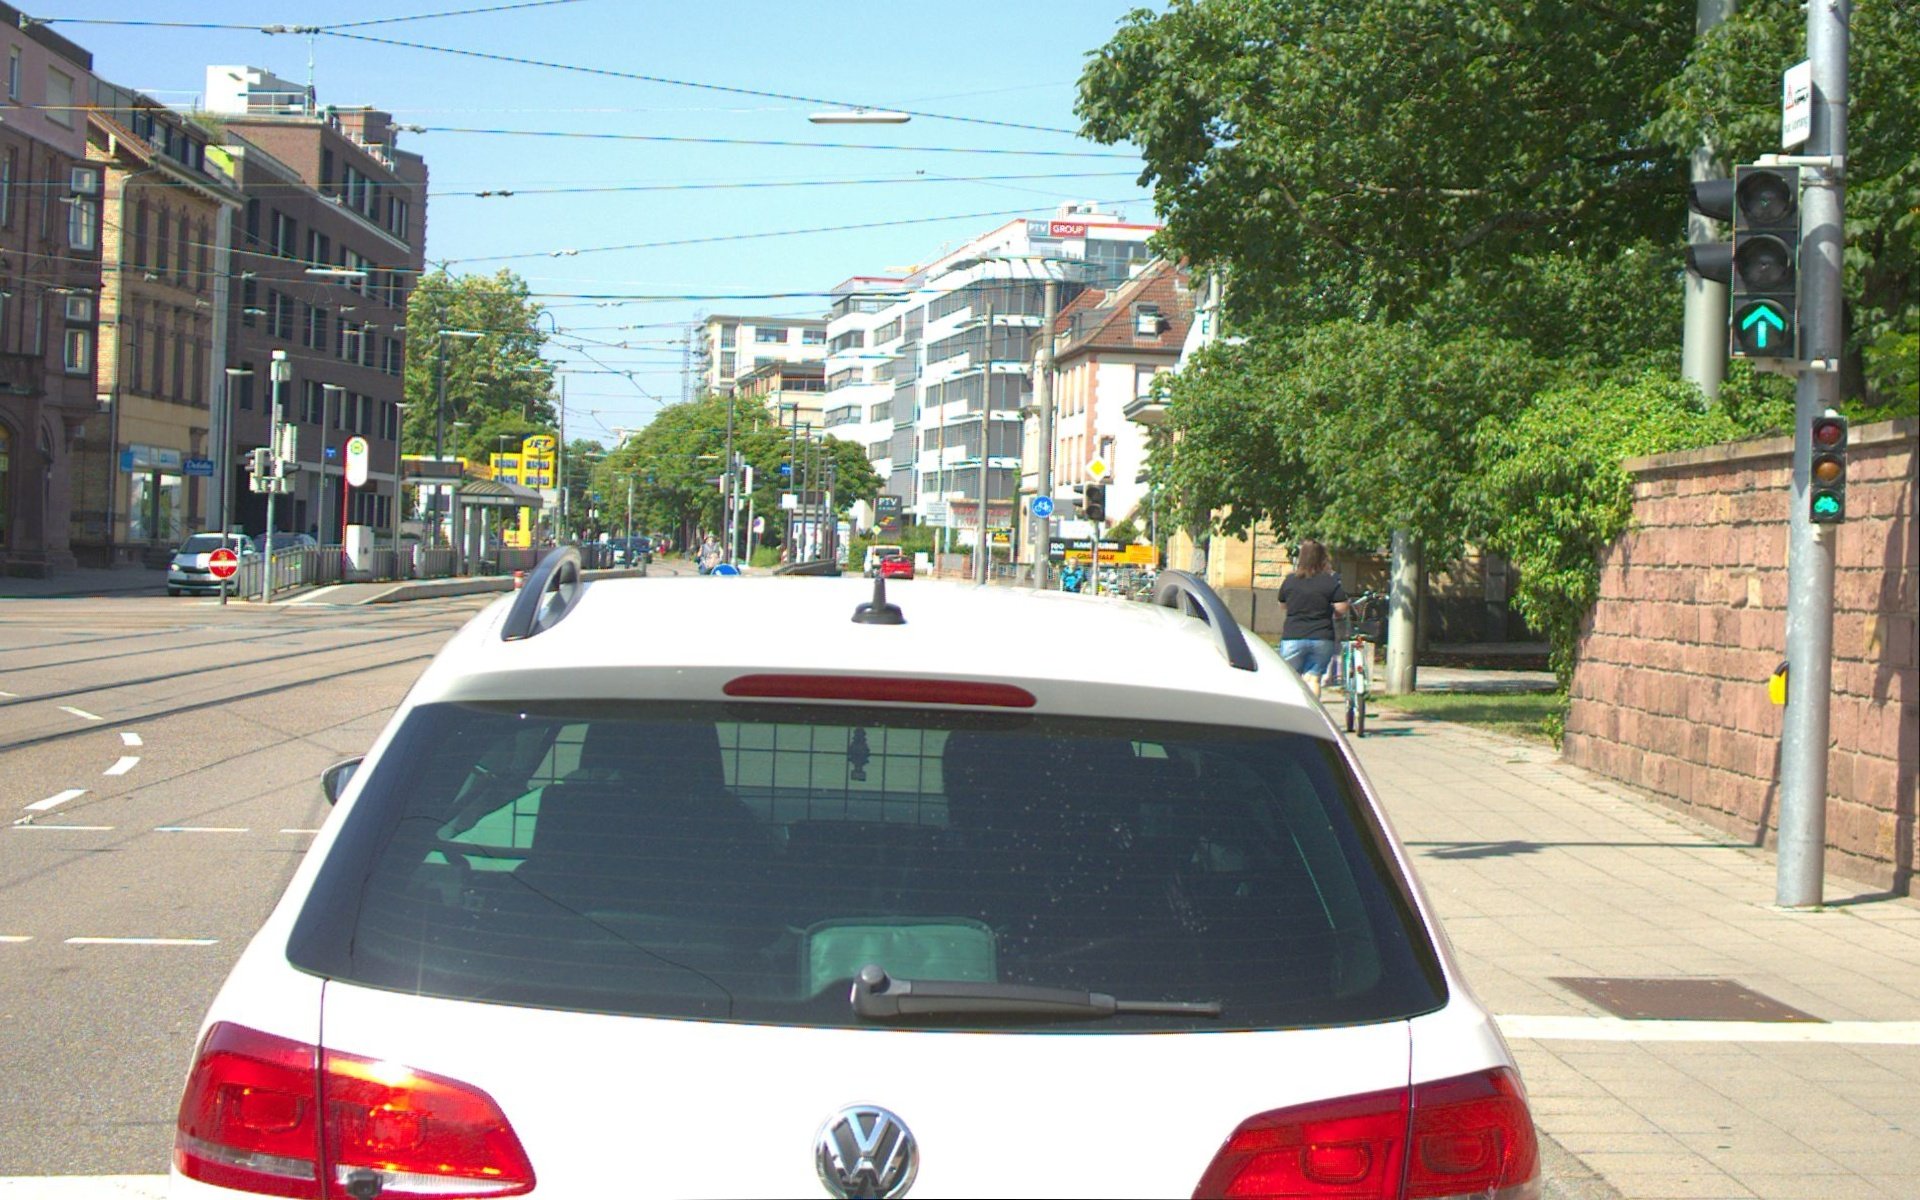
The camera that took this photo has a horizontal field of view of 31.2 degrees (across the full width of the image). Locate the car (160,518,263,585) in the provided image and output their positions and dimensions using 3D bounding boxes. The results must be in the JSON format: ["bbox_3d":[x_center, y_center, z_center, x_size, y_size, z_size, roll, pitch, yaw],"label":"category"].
[{"bbox_3d":[-17.462,-1.135,80.364,1.625,1.426,3.963,3,1,-2],"label":"car"}]

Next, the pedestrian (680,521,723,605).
[{"bbox_3d":[-5.616,-0.804,74.716,0.826,1.803,0.833,2,1,0],"label":"pedestrian"}]

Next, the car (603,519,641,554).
[{"bbox_3d":[-20.407,-3.824,207.682,1.993,2.007,4.000,1,1,-2],"label":"car"}]

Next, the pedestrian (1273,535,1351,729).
[{"bbox_3d":[2.832,0.250,27.703,0.540,1.543,0.663,0,1,-1],"label":"pedestrian"}]

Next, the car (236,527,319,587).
[{"bbox_3d":[-17.471,-1.104,88.119,1.572,1.454,3.815,2,1,-4],"label":"car"}]

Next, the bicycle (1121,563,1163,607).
[{"bbox_3d":[4.778,-0.400,90.211,0.726,1.135,2.193,2,1,12],"label":"bicycle"}]

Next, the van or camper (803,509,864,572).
[{"bbox_3d":[-6.663,-3.125,180.057,2.943,3.169,6.614,2,1,-3],"label":"van or camper"}]

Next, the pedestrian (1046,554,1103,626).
[{"bbox_3d":[2.454,-0.217,73.509,0.858,1.505,0.780,3,1,41],"label":"pedestrian"}]

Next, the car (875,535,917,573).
[{"bbox_3d":[-3.599,-2.569,192.411,1.993,2.007,4.001,2,1,-5],"label":"car"}]

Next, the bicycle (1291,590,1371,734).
[{"bbox_3d":[2.997,0.478,27.685,0.536,1.107,1.806,1,0,9],"label":"bicycle"}]

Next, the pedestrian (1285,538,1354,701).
[{"bbox_3d":[3.801,0.198,36.341,0.650,1.676,0.707,2,1,6],"label":"pedestrian"}]

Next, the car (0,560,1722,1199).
[{"bbox_3d":[-0.152,0.683,5.393,1.752,1.413,3.853,2,1,-1],"label":"car"}]
